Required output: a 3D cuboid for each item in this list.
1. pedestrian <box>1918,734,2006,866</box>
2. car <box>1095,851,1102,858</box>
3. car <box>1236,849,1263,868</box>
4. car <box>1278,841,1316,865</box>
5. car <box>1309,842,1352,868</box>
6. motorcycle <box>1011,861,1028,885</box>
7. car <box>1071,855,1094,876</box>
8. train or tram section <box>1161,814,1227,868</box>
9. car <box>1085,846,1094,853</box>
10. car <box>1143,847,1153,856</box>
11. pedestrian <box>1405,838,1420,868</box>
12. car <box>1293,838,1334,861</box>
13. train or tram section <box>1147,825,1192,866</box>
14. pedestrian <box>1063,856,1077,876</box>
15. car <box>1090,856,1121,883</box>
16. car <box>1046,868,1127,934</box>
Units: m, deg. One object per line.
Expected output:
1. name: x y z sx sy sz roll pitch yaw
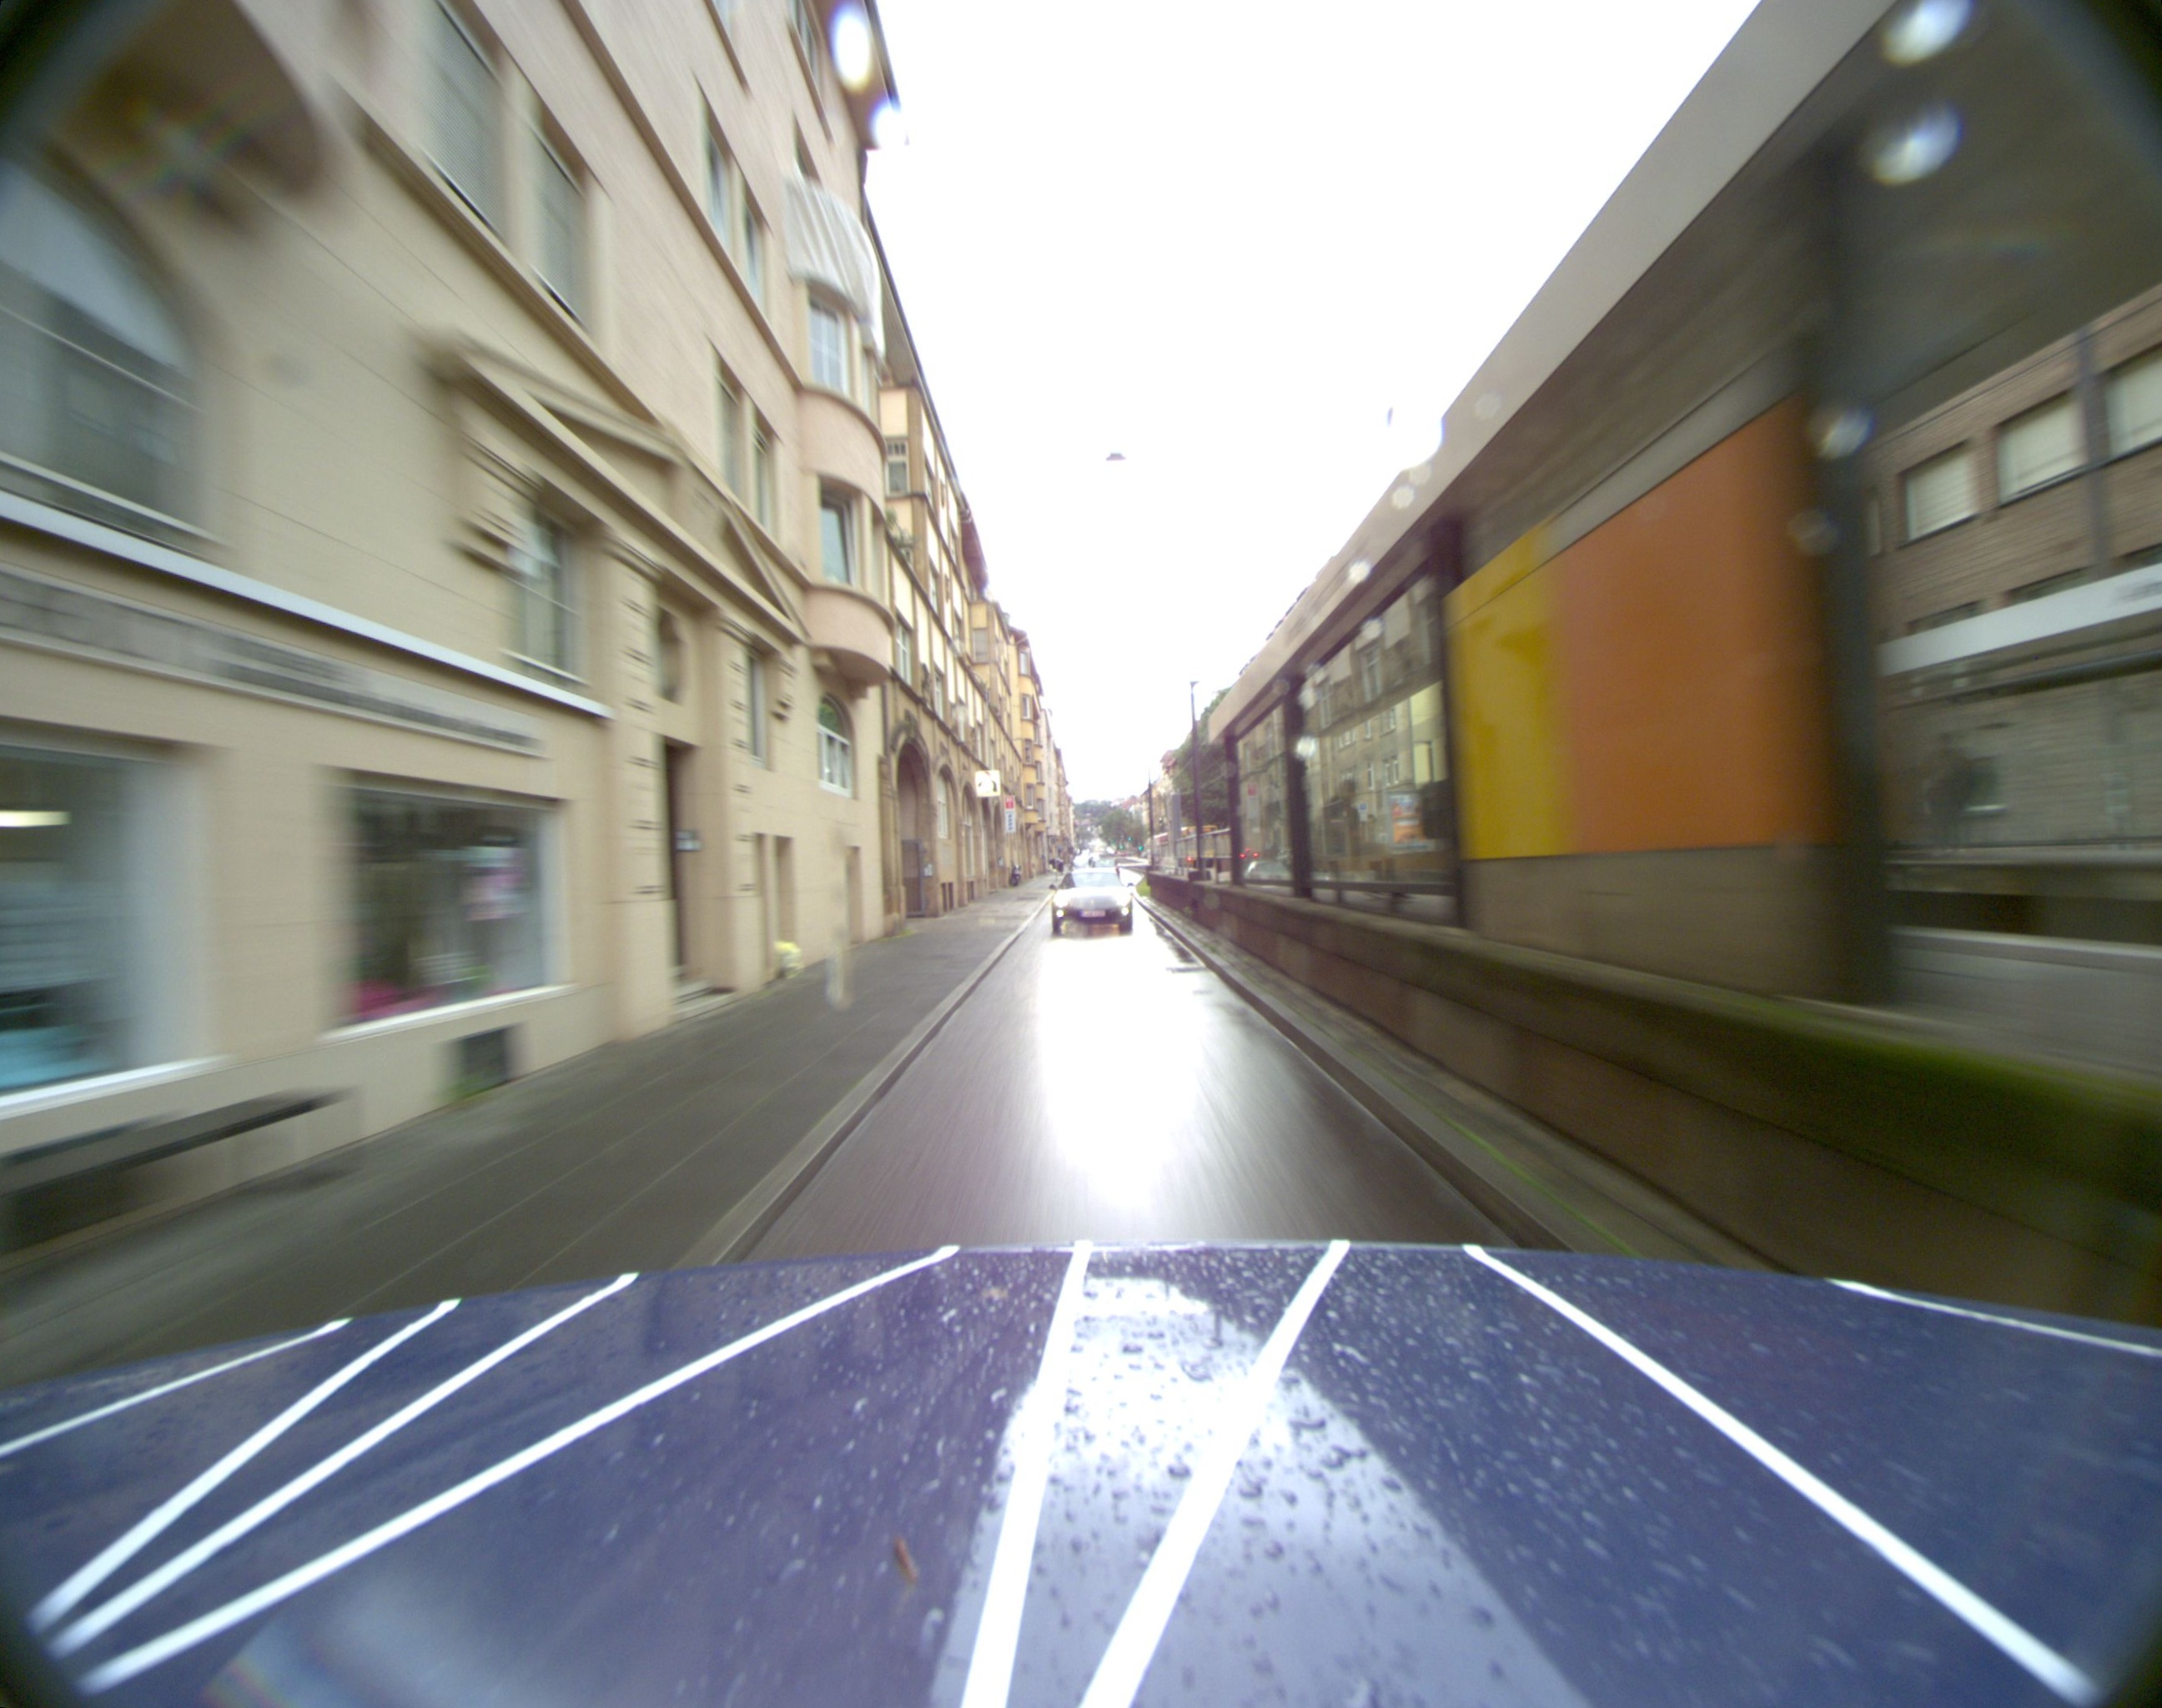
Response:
1. pedestrian: 11.698 -0.702 10.100 0.588 1.699 0.491 -1 1 0
2. car: 5.603 0.180 240.727 1.998 1.958 4.000 -5 0 1
3. car: 15.988 0.377 72.394 1.648 1.696 4.098 -3 0 0
4. car: 15.655 -0.084 55.198 1.648 1.571 4.339 -3 0 2
5. car: 15.286 0.058 46.713 1.648 1.457 3.111 -3 0 2
6. motorcycle: -3.371 1.015 41.565 0.692 1.230 1.779 3 0 1
7. car: 0.144 0.871 59.610 1.633 1.443 4.000 -3 0 2
8. train or tram section: 9.433 -1.039 66.380 2.721 3.898 19.860 -3 0 0
9. car: 2.035 -1.134 186.868 1.998 1.761 4.000 -3 0 3
10. car: 16.474 -0.655 185.888 1.998 1.958 4.000 -4 0 1
11. pedestrian: 18.422 -0.051 42.212 0.550 1.644 0.542 -2 1 2
12. car: 15.368 -0.265 50.407 1.648 1.395 3.633 -3 0 2
13. train or tram section: 9.569 -0.911 84.959 2.721 3.898 19.296 -3 0 0
14. pedestrian: -1.023 1.098 69.684 1.125 1.703 1.102 -3 1 2
15. car: 1.390 0.879 43.995 1.689 1.451 3.299 -1 0 1
16. car: 0.203 1.048 18.491 1.704 1.280 4.196 -3 0 2
